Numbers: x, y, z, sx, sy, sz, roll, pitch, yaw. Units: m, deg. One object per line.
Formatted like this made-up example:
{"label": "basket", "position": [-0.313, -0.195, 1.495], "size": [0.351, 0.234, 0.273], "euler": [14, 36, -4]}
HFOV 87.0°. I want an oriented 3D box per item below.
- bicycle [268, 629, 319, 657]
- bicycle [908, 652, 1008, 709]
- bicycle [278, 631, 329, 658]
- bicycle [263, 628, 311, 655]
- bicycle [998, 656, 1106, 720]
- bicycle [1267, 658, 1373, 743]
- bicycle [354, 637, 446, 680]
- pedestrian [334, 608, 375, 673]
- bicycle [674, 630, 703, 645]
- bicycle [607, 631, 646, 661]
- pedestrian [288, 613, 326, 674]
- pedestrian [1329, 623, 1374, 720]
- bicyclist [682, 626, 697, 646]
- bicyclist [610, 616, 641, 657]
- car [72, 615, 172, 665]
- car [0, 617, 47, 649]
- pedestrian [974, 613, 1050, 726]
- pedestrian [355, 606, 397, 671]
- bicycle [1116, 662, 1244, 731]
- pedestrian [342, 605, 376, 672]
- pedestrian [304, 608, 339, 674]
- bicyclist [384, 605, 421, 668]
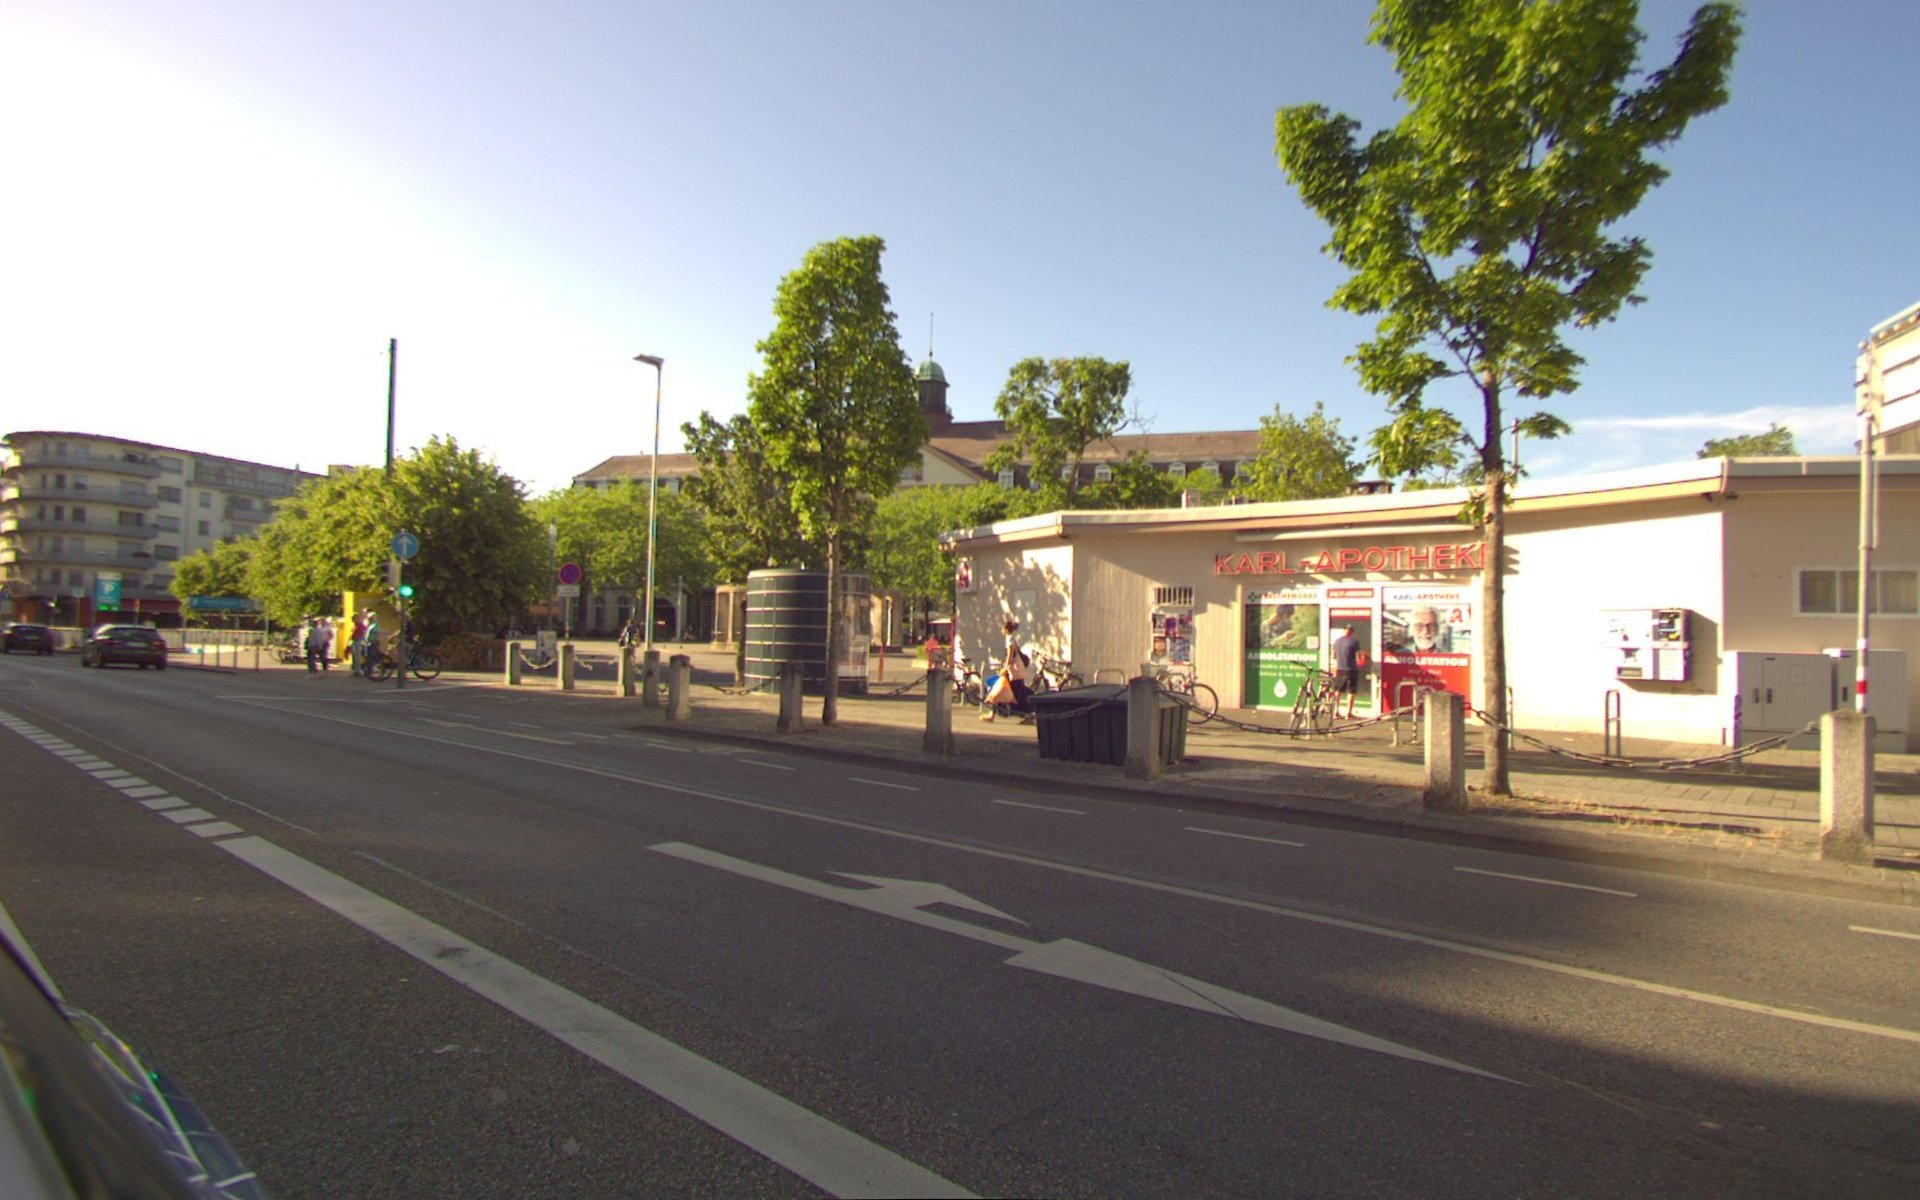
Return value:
{"label": "bicycle", "position": [-25.215, 1.645, 38.311], "size": [0.364, 1.039, 1.529], "euler": [-1, -3, 40]}
{"label": "bicycle", "position": [-0.023, 1.515, 19.350], "size": [1.861, 1.010, 0.766], "euler": [2, -2, -41]}
{"label": "bicycle", "position": [-24.725, 1.682, 38.138], "size": [0.364, 1.010, 1.539], "euler": [-1, -3, 40]}
{"label": "bicycle", "position": [-26.169, 1.627, 39.381], "size": [1.506, 1.039, 0.365], "euler": [2, -3, -34]}
{"label": "bicycle", "position": [1.597, 1.478, 17.292], "size": [1.861, 1.010, 0.766], "euler": [2, -2, -41]}
{"label": "bicycle", "position": [5.232, 1.417, 14.648], "size": [0.753, 1.096, 1.967], "euler": [-1, -3, 42]}
{"label": "bicycle", "position": [-15.129, 1.568, 27.393], "size": [2.138, 1.080, 0.766], "euler": [0, -1, -28]}
{"label": "pedestrian", "position": [-17.341, 1.170, 28.989], "size": [0.772, 1.825, 0.590], "euler": [1, -2, -3]}
{"label": "bicycle", "position": [-21.095, 2.948, 78.753], "size": [0.697, 1.112, 2.093], "euler": [-1, -3, 44]}
{"label": "bicycle", "position": [-13.342, 1.841, 40.390], "size": [0.927, 1.141, 2.486], "euler": [2, -3, -31]}
{"label": "pedestrian", "position": [-18.261, 1.207, 28.303], "size": [0.676, 1.686, 0.699], "euler": [2, -2, -18]}
{"label": "pedestrian", "position": [7.121, 1.283, 18.402], "size": [0.611, 1.722, 0.514], "euler": [-1, -4, 41]}
{"label": "bicyclist", "position": [-21.042, 2.801, 78.787], "size": [0.647, 1.483, 0.938], "euler": [-1, -2, 44]}
{"label": "bicyclist", "position": [-13.380, 1.461, 40.464], "size": [0.927, 1.621, 1.173], "euler": [2, -3, -31]}
{"label": "car", "position": [-27.123, 1.285, 32.711], "size": [4.039, 1.408, 1.634], "euler": [0, -7, 40]}
{"label": "car", "position": [-43.861, 1.517, 46.811], "size": [4.249, 1.434, 1.732], "euler": [-1, -2, 39]}
{"label": "pedestrian", "position": [0.806, 1.072, 15.834], "size": [1.070, 1.711, 0.903], "euler": [1, -2, -3]}
{"label": "pedestrian", "position": [-16.552, 1.091, 28.690], "size": [0.776, 1.825, 0.586], "euler": [0, -2, 15]}
{"label": "bicycle", "position": [3.532, 1.512, 16.188], "size": [1.985, 1.010, 0.890], "euler": [2, -3, -35]}
{"label": "pedestrian", "position": [-17.679, 1.136, 29.760], "size": [0.784, 1.933, 0.601], "euler": [-1, -3, 43]}
{"label": "pedestrian", "position": [-18.294, 1.177, 29.005], "size": [0.640, 1.871, 0.626], "euler": [2, -2, -18]}
{"label": "bicyclist", "position": [-15.088, 0.987, 27.415], "size": [0.791, 1.661, 0.997], "euler": [2, -2, -27]}
